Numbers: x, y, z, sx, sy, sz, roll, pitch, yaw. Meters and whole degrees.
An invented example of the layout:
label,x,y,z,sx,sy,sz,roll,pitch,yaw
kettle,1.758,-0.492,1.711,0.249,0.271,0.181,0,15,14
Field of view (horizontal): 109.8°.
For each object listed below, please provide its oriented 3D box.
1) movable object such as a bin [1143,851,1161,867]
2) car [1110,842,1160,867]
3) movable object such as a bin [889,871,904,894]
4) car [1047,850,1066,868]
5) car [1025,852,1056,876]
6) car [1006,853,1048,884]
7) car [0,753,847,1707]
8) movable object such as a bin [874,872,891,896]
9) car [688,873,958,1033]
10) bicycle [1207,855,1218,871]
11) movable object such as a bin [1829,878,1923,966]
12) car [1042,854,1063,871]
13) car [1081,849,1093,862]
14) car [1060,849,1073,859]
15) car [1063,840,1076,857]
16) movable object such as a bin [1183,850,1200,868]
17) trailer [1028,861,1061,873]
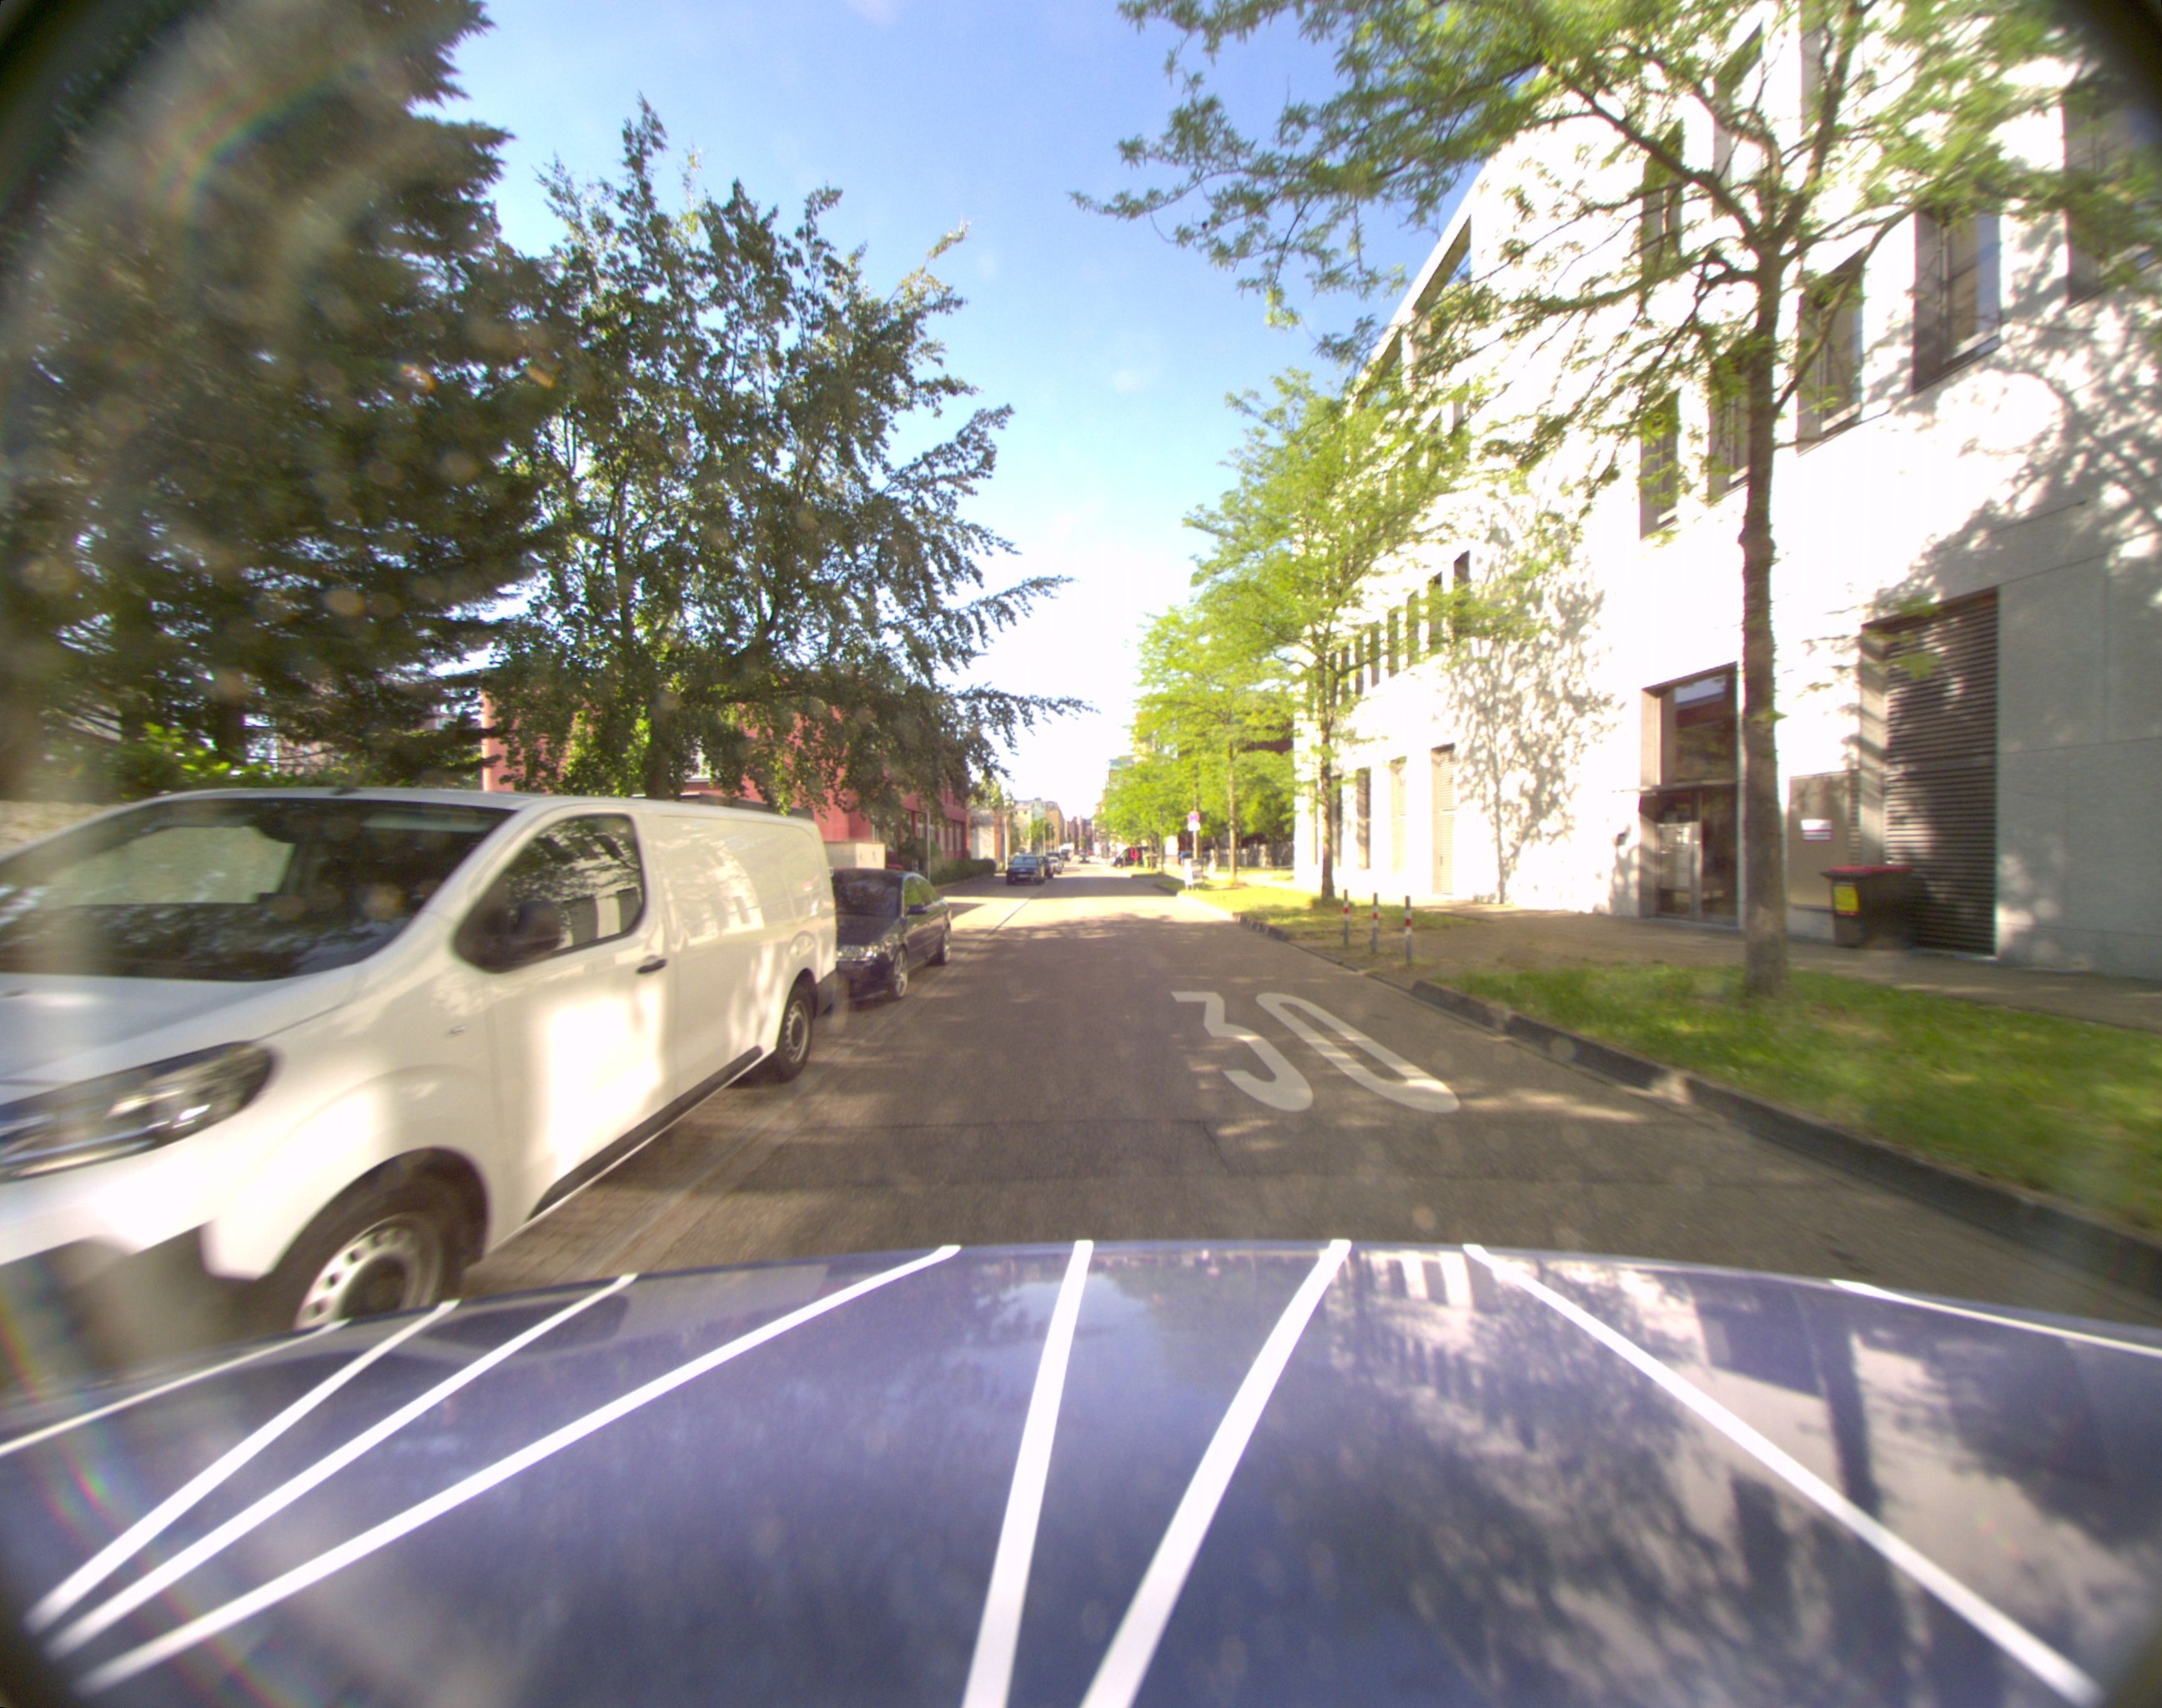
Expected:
label,x,y,z,sx,sy,sz,roll,pitch,yaw
movable object such as a bin,7.300,0.487,78.255,1.524,1.559,1.345,-2,1,-9
car,6.191,0.034,87.266,5.489,2.527,1.986,-3,1,0
movable object such as a bin,-7.476,1.145,30.792,0.478,0.895,0.475,-2,1,2
car,-2.709,0.537,84.233,1.903,1.974,4.372,0,0,1
car,-2.807,0.704,53.875,1.878,1.620,4.406,0,0,1
car,-2.939,0.755,42.174,1.903,1.620,4.372,0,0,1
car,-2.908,0.751,3.623,1.903,1.903,5.148,0,0,1
movable object such as a bin,-7.597,1.158,29.113,0.478,0.895,0.475,-2,1,2
car,-2.834,1.005,9.467,1.830,1.415,4.283,0,0,1
bicycle,10.082,0.679,58.311,0.602,1.185,1.727,-2,1,1
movable object such as a bin,9.983,0.840,9.556,0.594,1.034,0.543,-2,1,-2
car,-2.500,0.736,68.237,1.699,1.448,3.889,0,0,1
car,0.956,0.242,116.649,1.903,1.974,4.372,0,0,1
car,-2.379,-0.032,125.763,1.903,1.585,4.372,0,0,1
car,-2.710,-1.334,185.655,2.913,3.920,6.325,0,1,2
movable object such as a bin,10.424,0.468,71.911,1.522,1.559,1.347,-2,1,5
trailer,-3.093,1.096,64.647,1.563,0.922,2.986,0,0,27
